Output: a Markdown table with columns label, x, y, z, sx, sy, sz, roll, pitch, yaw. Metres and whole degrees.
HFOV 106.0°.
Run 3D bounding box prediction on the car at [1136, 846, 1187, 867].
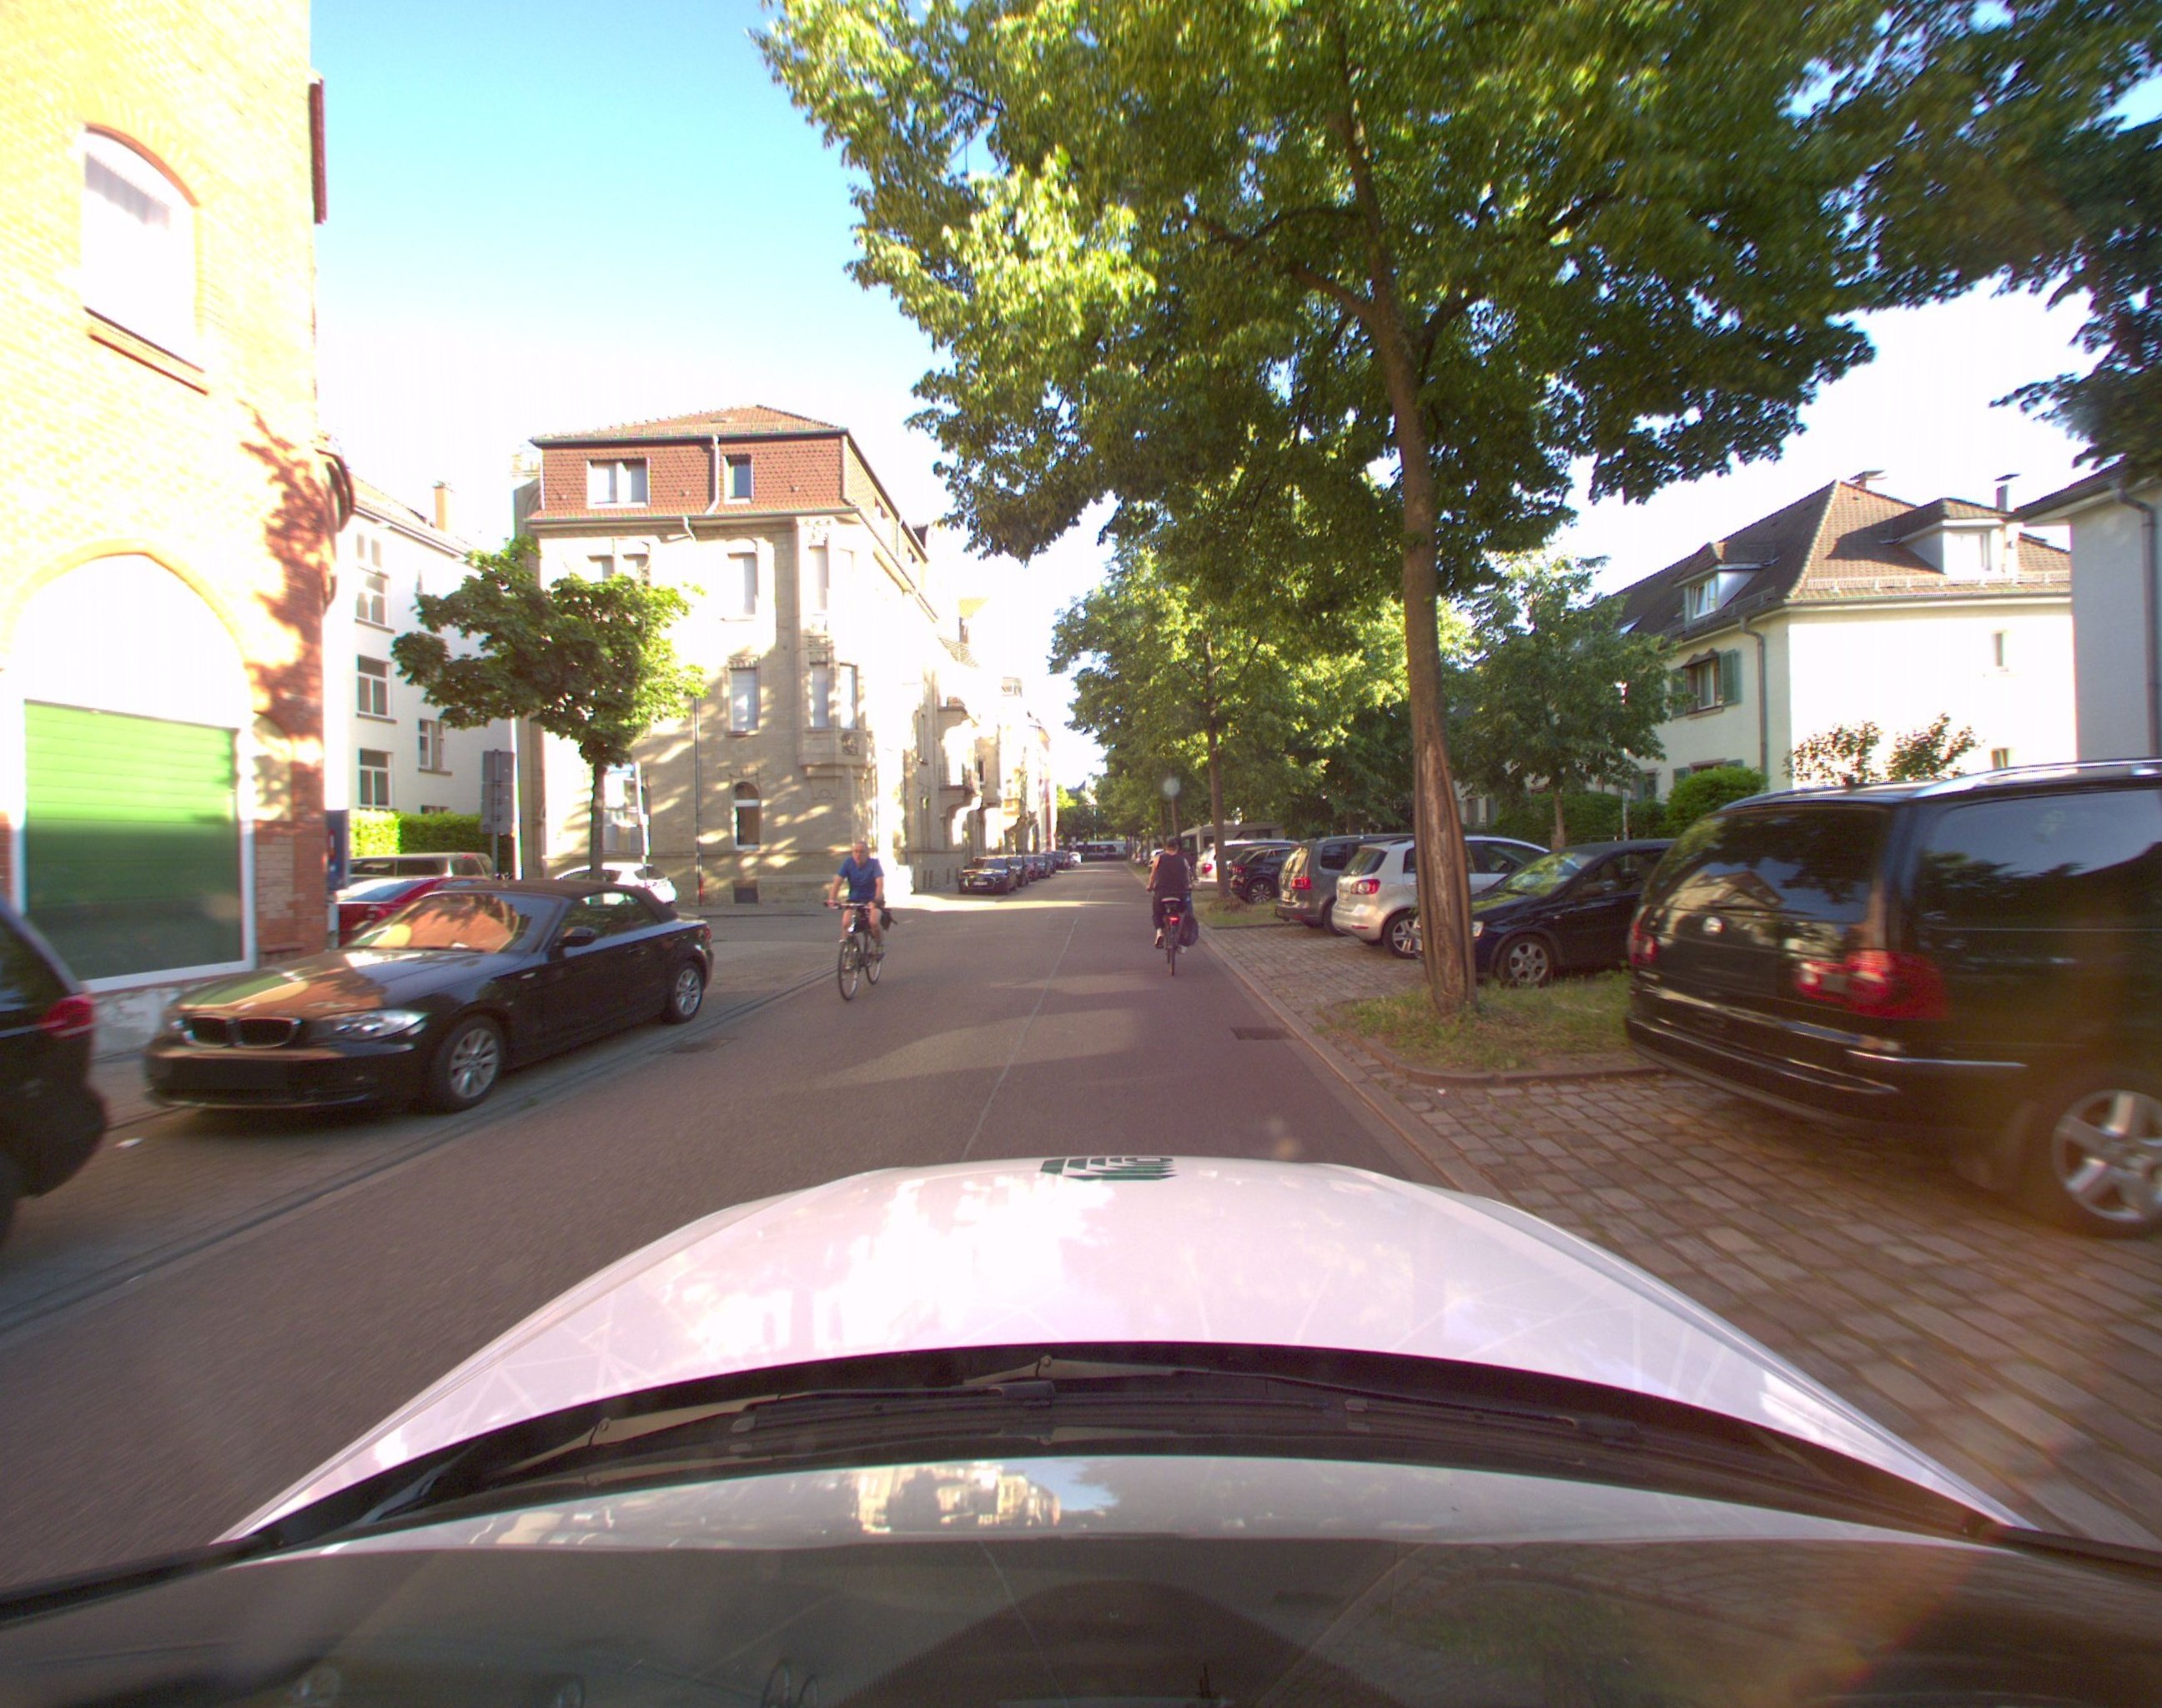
| label | x | y | z | sx | sy | sz | roll | pitch | yaw |
| --- | --- | --- | --- | --- | --- | --- | --- | --- | --- |
| car | 6.667 | 0.247 | 67.836 | 4.121 | 1.600 | 1.704 | -2 | -2 | 3 |

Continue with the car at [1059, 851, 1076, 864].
| label | x | y | z | sx | sy | sz | roll | pitch | yaw |
| --- | --- | --- | --- | --- | --- | --- | --- | --- | --- |
| car | -1.521 | 0.408 | 92.319 | 1.577 | 1.343 | 4.134 | 1 | 1 | 2 |

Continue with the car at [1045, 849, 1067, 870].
| label | x | y | z | sx | sy | sz | roll | pitch | yaw |
| --- | --- | --- | --- | --- | --- | --- | --- | --- | --- |
| car | -2.226 | 0.505 | 74.109 | 1.634 | 1.783 | 4.357 | 1 | 1 | 3 |

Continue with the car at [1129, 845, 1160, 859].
| label | x | y | z | sx | sy | sz | roll | pitch | yaw |
| --- | --- | --- | --- | --- | --- | --- | --- | --- | --- |
| car | 8.393 | -0.273 | 108.486 | 3.975 | 1.803 | 1.833 | 0 | 0 | -1 |

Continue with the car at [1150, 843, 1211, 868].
| label | x | y | z | sx | sy | sz | roll | pitch | yaw |
| --- | --- | --- | --- | --- | --- | --- | --- | --- | --- |
| car | 7.169 | 0.123 | 58.886 | 4.205 | 1.600 | 1.692 | -2 | -2 | 3 |

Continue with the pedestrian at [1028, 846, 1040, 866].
| label | x | y | z | sx | sy | sz | roll | pitch | yaw |
| --- | --- | --- | --- | --- | --- | --- | --- | --- | --- |
| pedestrian | -4.174 | 0.204 | 72.130 | 0.934 | 1.742 | 0.735 | 0 | -1 | 2 |

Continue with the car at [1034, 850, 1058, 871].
| label | x | y | z | sx | sy | sz | roll | pitch | yaw |
| --- | --- | --- | --- | --- | --- | --- | --- | --- | --- |
| car | -2.604 | 0.469 | 61.145 | 1.590 | 1.489 | 2.737 | 2 | 1 | 0 |

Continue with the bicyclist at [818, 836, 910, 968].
| label | x | y | z | sx | sy | sz | roll | pitch | yaw |
| --- | --- | --- | --- | --- | --- | --- | --- | --- | --- |
| bicyclist | -2.529 | 0.542 | 9.599 | 0.757 | 1.454 | 0.949 | -2 | -1 | 1 |

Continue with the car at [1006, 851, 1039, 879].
| label | x | y | z | sx | sy | sz | roll | pitch | yaw |
| --- | --- | --- | --- | --- | --- | --- | --- | --- | --- |
| car | -3.279 | 0.600 | 46.262 | 1.624 | 1.453 | 3.837 | 0 | 1 | 0 |

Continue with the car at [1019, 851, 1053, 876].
| label | x | y | z | sx | sy | sz | roll | pitch | yaw |
| --- | --- | --- | --- | --- | --- | --- | --- | --- | --- |
| car | -2.834 | 0.565 | 51.950 | 1.669 | 1.430 | 4.553 | 1 | 1 | 3 |

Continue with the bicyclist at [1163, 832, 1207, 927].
| label | x | y | z | sx | sy | sz | roll | pitch | yaw |
| --- | --- | --- | --- | --- | --- | --- | --- | --- | --- |
| bicyclist | 1.848 | 0.443 | 14.567 | 0.686 | 1.626 | 0.999 | 1 | 0 | 3 |

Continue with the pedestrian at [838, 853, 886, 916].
| label | x | y | z | sx | sy | sz | roll | pitch | yaw |
| --- | --- | --- | --- | --- | --- | --- | --- | --- | --- |
| pedestrian | -5.813 | 0.785 | 21.702 | 0.884 | 1.577 | 1.054 | -3 | 1 | 2 |

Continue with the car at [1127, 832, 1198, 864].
| label | x | y | z | sx | sy | sz | roll | pitch | yaw |
| --- | --- | --- | --- | --- | --- | --- | --- | --- | --- |
| car | 8.540 | -0.601 | 86.087 | 7.126 | 2.978 | 2.463 | -3 | 0 | -1 |

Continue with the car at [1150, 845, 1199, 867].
| label | x | y | z | sx | sy | sz | roll | pitch | yaw |
| --- | --- | --- | --- | --- | --- | --- | --- | --- | --- |
| car | 7.485 | 0.163 | 65.281 | 3.757 | 1.600 | 1.692 | -2 | -2 | 3 |

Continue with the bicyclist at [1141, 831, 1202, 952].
| label | x | y | z | sx | sy | sz | roll | pitch | yaw |
| --- | --- | --- | --- | --- | --- | --- | --- | --- | --- |
| bicyclist | 1.200 | 0.489 | 10.957 | 0.727 | 1.547 | 0.884 | 1 | -1 | 1 |

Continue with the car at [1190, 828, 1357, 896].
| label | x | y | z | sx | sy | sz | roll | pitch | yaw |
| --- | --- | --- | --- | --- | --- | --- | --- | --- | --- |
| car | 5.702 | 0.228 | 24.573 | 4.600 | 1.709 | 1.835 | -3 | 0 | 3 |

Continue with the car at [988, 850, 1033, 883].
| label | x | y | z | sx | sy | sz | roll | pitch | yaw |
| --- | --- | --- | --- | --- | --- | --- | --- | --- | --- |
| car | -3.313 | 0.590 | 38.932 | 1.690 | 1.453 | 4.028 | -1 | 0 | 1 |

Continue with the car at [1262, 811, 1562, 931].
| label | x | y | z | sx | sy | sz | roll | pitch | yaw |
| --- | --- | --- | --- | --- | --- | --- | --- | --- | --- |
| car | 5.731 | 0.264 | 14.437 | 4.530 | 1.633 | 1.810 | -5 | 0 | -4 |

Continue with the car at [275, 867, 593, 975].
| label | x | y | z | sx | sy | sz | roll | pitch | yaw |
| --- | --- | --- | --- | --- | --- | --- | --- | --- | --- |
| car | -10.705 | 1.002 | 14.038 | 1.629 | 1.468 | 4.660 | 0 | 0 | 2 |

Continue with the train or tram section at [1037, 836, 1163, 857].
| label | x | y | z | sx | sy | sz | roll | pitch | yaw |
| --- | --- | --- | --- | --- | --- | --- | --- | --- | --- |
| train or tram section | 3.738 | -1.276 | 152.138 | 23.889 | 3.708 | 4.256 | 0 | 0 | -21 |

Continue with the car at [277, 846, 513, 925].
| label | x | y | z | sx | sy | sz | roll | pitch | yaw |
| --- | --- | --- | --- | --- | --- | --- | --- | --- | --- |
| car | -18.606 | 0.813 | 22.270 | 4.698 | 1.866 | 1.867 | -1 | 3 | -1 |

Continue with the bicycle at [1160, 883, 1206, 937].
| label | x | y | z | sx | sy | sz | roll | pitch | yaw |
| --- | --- | --- | --- | --- | --- | --- | --- | --- | --- |
| bicycle | 1.776 | 0.956 | 14.430 | 0.631 | 0.799 | 1.833 | -2 | 0 | 2 |

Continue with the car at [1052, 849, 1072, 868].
| label | x | y | z | sx | sy | sz | roll | pitch | yaw |
| --- | --- | --- | --- | --- | --- | --- | --- | --- | --- |
| car | -1.903 | 0.449 | 81.430 | 1.682 | 1.825 | 4.276 | 1 | 1 | 2 |

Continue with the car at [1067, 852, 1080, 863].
| label | x | y | z | sx | sy | sz | roll | pitch | yaw |
| --- | --- | --- | --- | --- | --- | --- | --- | --- | --- |
| car | -1.017 | 0.462 | 109.776 | 1.577 | 1.375 | 4.134 | 1 | 1 | 2 |

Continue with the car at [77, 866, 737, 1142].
| label | x | y | z | sx | sy | sz | roll | pitch | yaw |
| --- | --- | --- | --- | --- | --- | --- | --- | --- | --- |
| car | -4.631 | 0.856 | 6.652 | 1.629 | 1.410 | 4.335 | 1 | 0 | 2 |

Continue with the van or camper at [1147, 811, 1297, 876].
| label | x | y | z | sx | sy | sz | roll | pitch | yaw |
| --- | --- | --- | --- | --- | --- | --- | --- | --- | --- |
| van or camper | 6.987 | -0.534 | 41.177 | 7.116 | 2.647 | 2.467 | -4 | 0 | 3 |

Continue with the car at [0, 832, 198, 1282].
| label | x | y | z | sx | sy | sz | roll | pitch | yaw |
| --- | --- | --- | --- | --- | --- | --- | --- | --- | --- |
| car | -4.881 | 0.763 | 1.538 | 1.664 | 1.681 | 4.350 | 0 | 0 | 0 |

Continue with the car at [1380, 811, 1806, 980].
| label | x | y | z | sx | sy | sz | roll | pitch | yaw |
| --- | --- | --- | --- | --- | --- | --- | --- | --- | --- |
| car | 5.543 | 0.424 | 9.162 | 3.708 | 1.453 | 1.589 | -5 | 0 | 1 |

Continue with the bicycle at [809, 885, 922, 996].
| label | x | y | z | sx | sy | sz | roll | pitch | yaw |
| --- | --- | --- | --- | --- | --- | --- | --- | --- | --- |
| bicycle | -2.511 | 0.974 | 9.758 | 0.755 | 1.107 | 1.908 | -2 | 0 | 2 |

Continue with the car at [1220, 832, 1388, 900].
| label | x | y | z | sx | sy | sz | roll | pitch | yaw |
| --- | --- | --- | --- | --- | --- | --- | --- | --- | --- |
| car | 5.962 | 0.301 | 22.086 | 4.051 | 1.476 | 1.695 | -4 | 1 | 2 |

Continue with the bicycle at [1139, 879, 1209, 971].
| label | x | y | z | sx | sy | sz | roll | pitch | yaw |
| --- | --- | --- | --- | --- | --- | --- | --- | --- | --- |
| bicycle | 1.196 | 0.894 | 10.866 | 0.735 | 1.054 | 1.956 | 1 | -1 | 1 |

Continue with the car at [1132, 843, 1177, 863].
| label | x | y | z | sx | sy | sz | roll | pitch | yaw |
| --- | --- | --- | --- | --- | --- | --- | --- | --- | --- |
| car | 7.086 | -0.075 | 78.928 | 4.070 | 1.650 | 1.641 | -4 | 0 | 0 |

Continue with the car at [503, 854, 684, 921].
| label | x | y | z | sx | sy | sz | roll | pitch | yaw |
| --- | --- | --- | --- | --- | --- | --- | --- | --- | --- |
| car | -13.215 | 0.884 | 22.252 | 3.784 | 1.550 | 1.719 | -1 | 3 | -1 |

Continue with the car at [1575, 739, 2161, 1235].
| label | x | y | z | sx | sy | sz | roll | pitch | yaw |
| --- | --- | --- | --- | --- | --- | --- | --- | --- | --- |
| car | 5.172 | 0.325 | 3.714 | 4.562 | 1.677 | 1.909 | -4 | 0 | 3 |

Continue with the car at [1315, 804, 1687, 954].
| label | x | y | z | sx | sy | sz | roll | pitch | yaw |
| --- | --- | --- | --- | --- | --- | --- | --- | --- | --- |
| car | 5.669 | 0.335 | 11.435 | 4.252 | 1.633 | 1.693 | -4 | 0 | 5 |

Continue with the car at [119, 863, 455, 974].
| label | x | y | z | sx | sy | sz | roll | pitch | yaw |
| --- | --- | --- | --- | --- | --- | --- | --- | --- | --- |
| car | -13.721 | 1.008 | 14.510 | 1.706 | 1.550 | 4.215 | -2 | 0 | 2 |

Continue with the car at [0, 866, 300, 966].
| label | x | y | z | sx | sy | sz | roll | pitch | yaw |
| --- | --- | --- | --- | --- | --- | --- | --- | --- | --- |
| car | -17.021 | 1.016 | 14.841 | 1.706 | 1.512 | 3.917 | -1 | 0 | 2 |

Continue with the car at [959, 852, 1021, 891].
| label | x | y | z | sx | sy | sz | roll | pitch | yaw |
| --- | --- | --- | --- | --- | --- | --- | --- | --- | --- |
| car | -3.618 | 0.662 | 33.102 | 1.804 | 1.427 | 4.900 | 1 | 0 | 2 |

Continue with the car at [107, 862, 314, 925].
| label | x | y | z | sx | sy | sz | roll | pitch | yaw |
| --- | --- | --- | --- | --- | --- | --- | --- | --- | --- |
| car | -24.061 | 1.066 | 22.613 | 3.877 | 1.473 | 1.602 | -1 | 3 | -1 |
